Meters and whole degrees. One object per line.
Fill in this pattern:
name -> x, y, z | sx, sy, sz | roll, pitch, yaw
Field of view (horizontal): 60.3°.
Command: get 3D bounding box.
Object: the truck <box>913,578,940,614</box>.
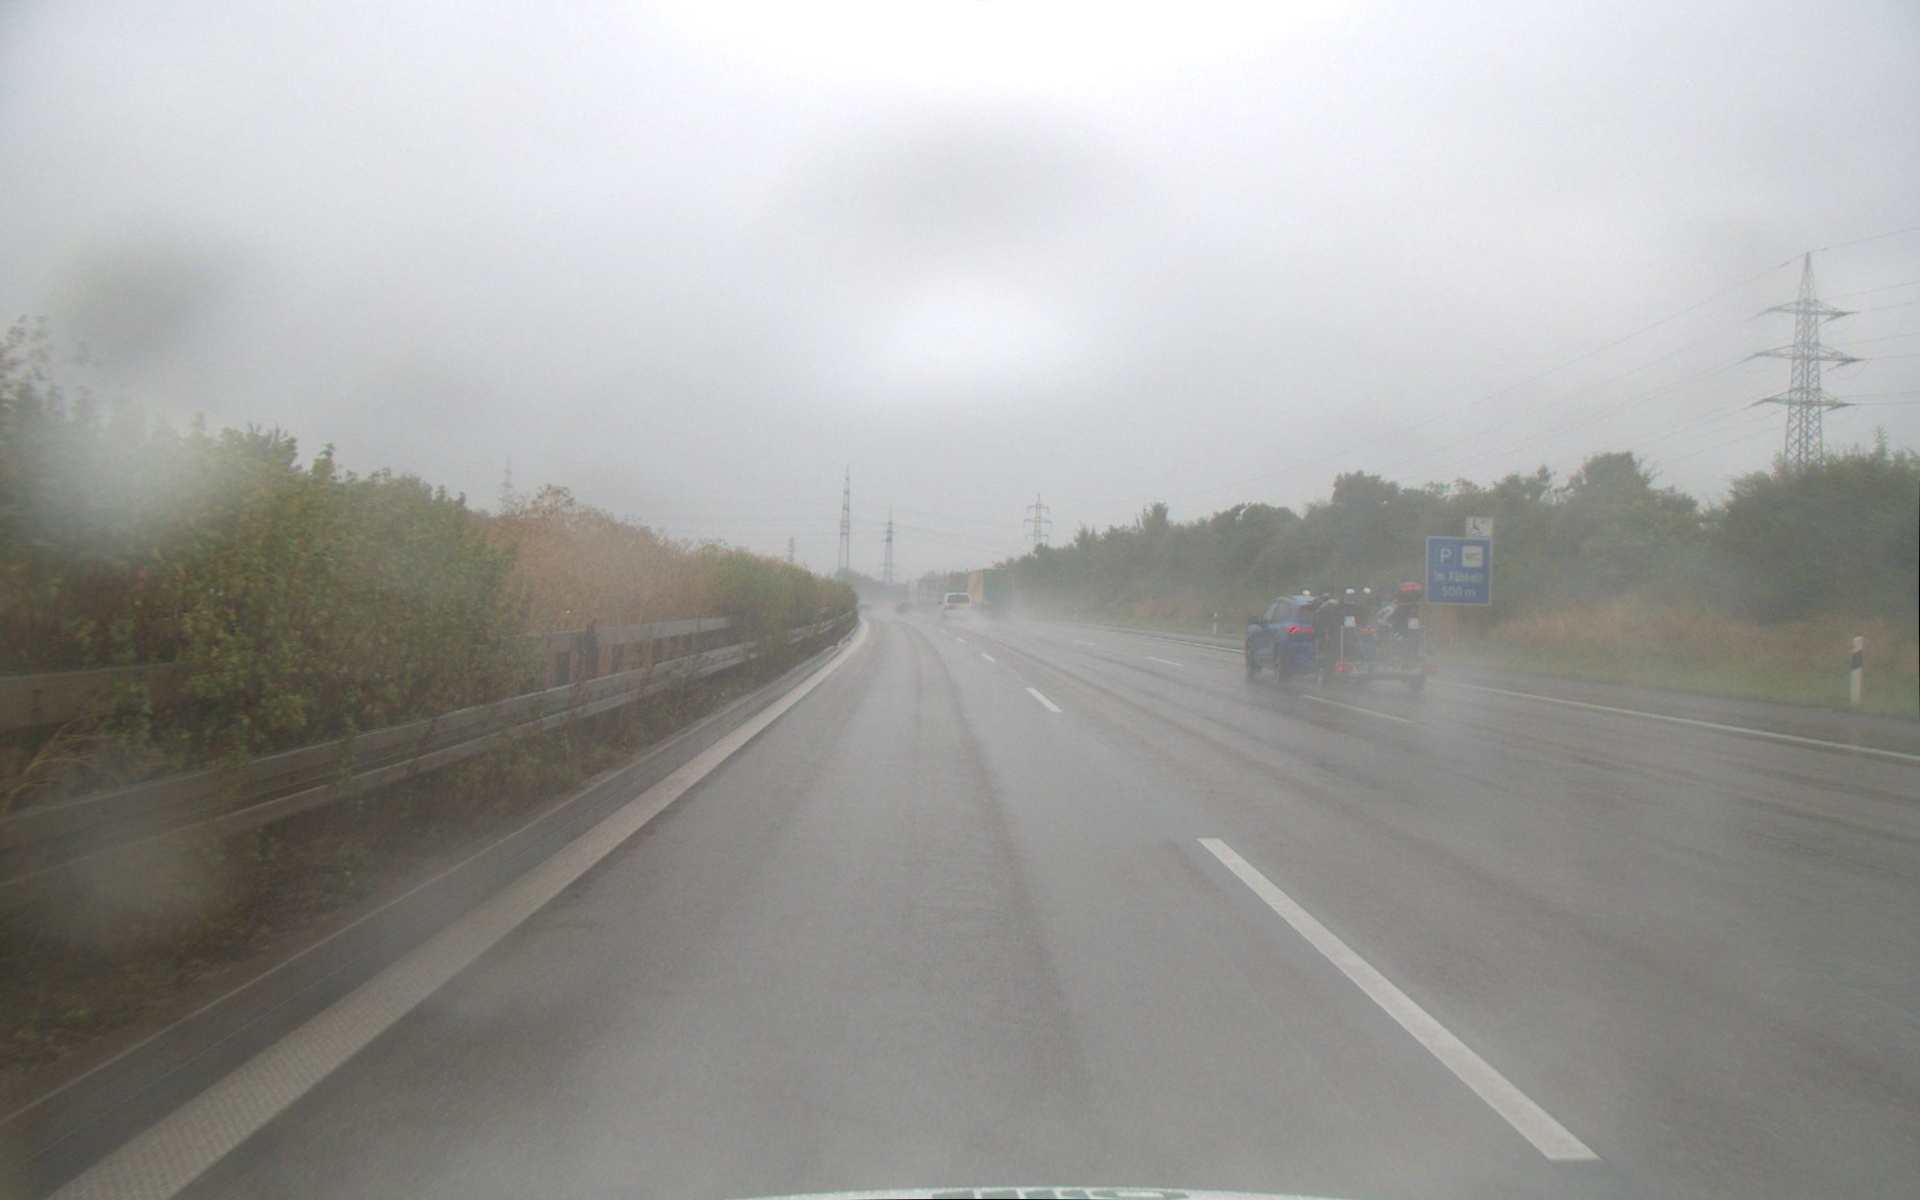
truck -> -4.193, -0.538, 207.326 | 3.167, 4.387, 8.832 | 1, 0, -2

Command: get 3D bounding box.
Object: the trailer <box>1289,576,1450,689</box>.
trailer -> 6.943, 0.543, 28.351 | 1.939, 1.816, 3.188 | 0, -1, -1

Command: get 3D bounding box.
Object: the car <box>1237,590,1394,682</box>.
car -> 6.855, 0.678, 32.440 | 1.953, 1.647, 4.991 | 0, -1, -1

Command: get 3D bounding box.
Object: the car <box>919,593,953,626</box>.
car -> -1.550, 0.605, 106.403 | 1.954, 2.049, 3.996 | 1, 0, -4

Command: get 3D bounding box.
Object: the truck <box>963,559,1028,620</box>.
truck -> 2.767, -0.707, 136.609 | 4.106, 4.711, 16.093 | 1, -1, -3
